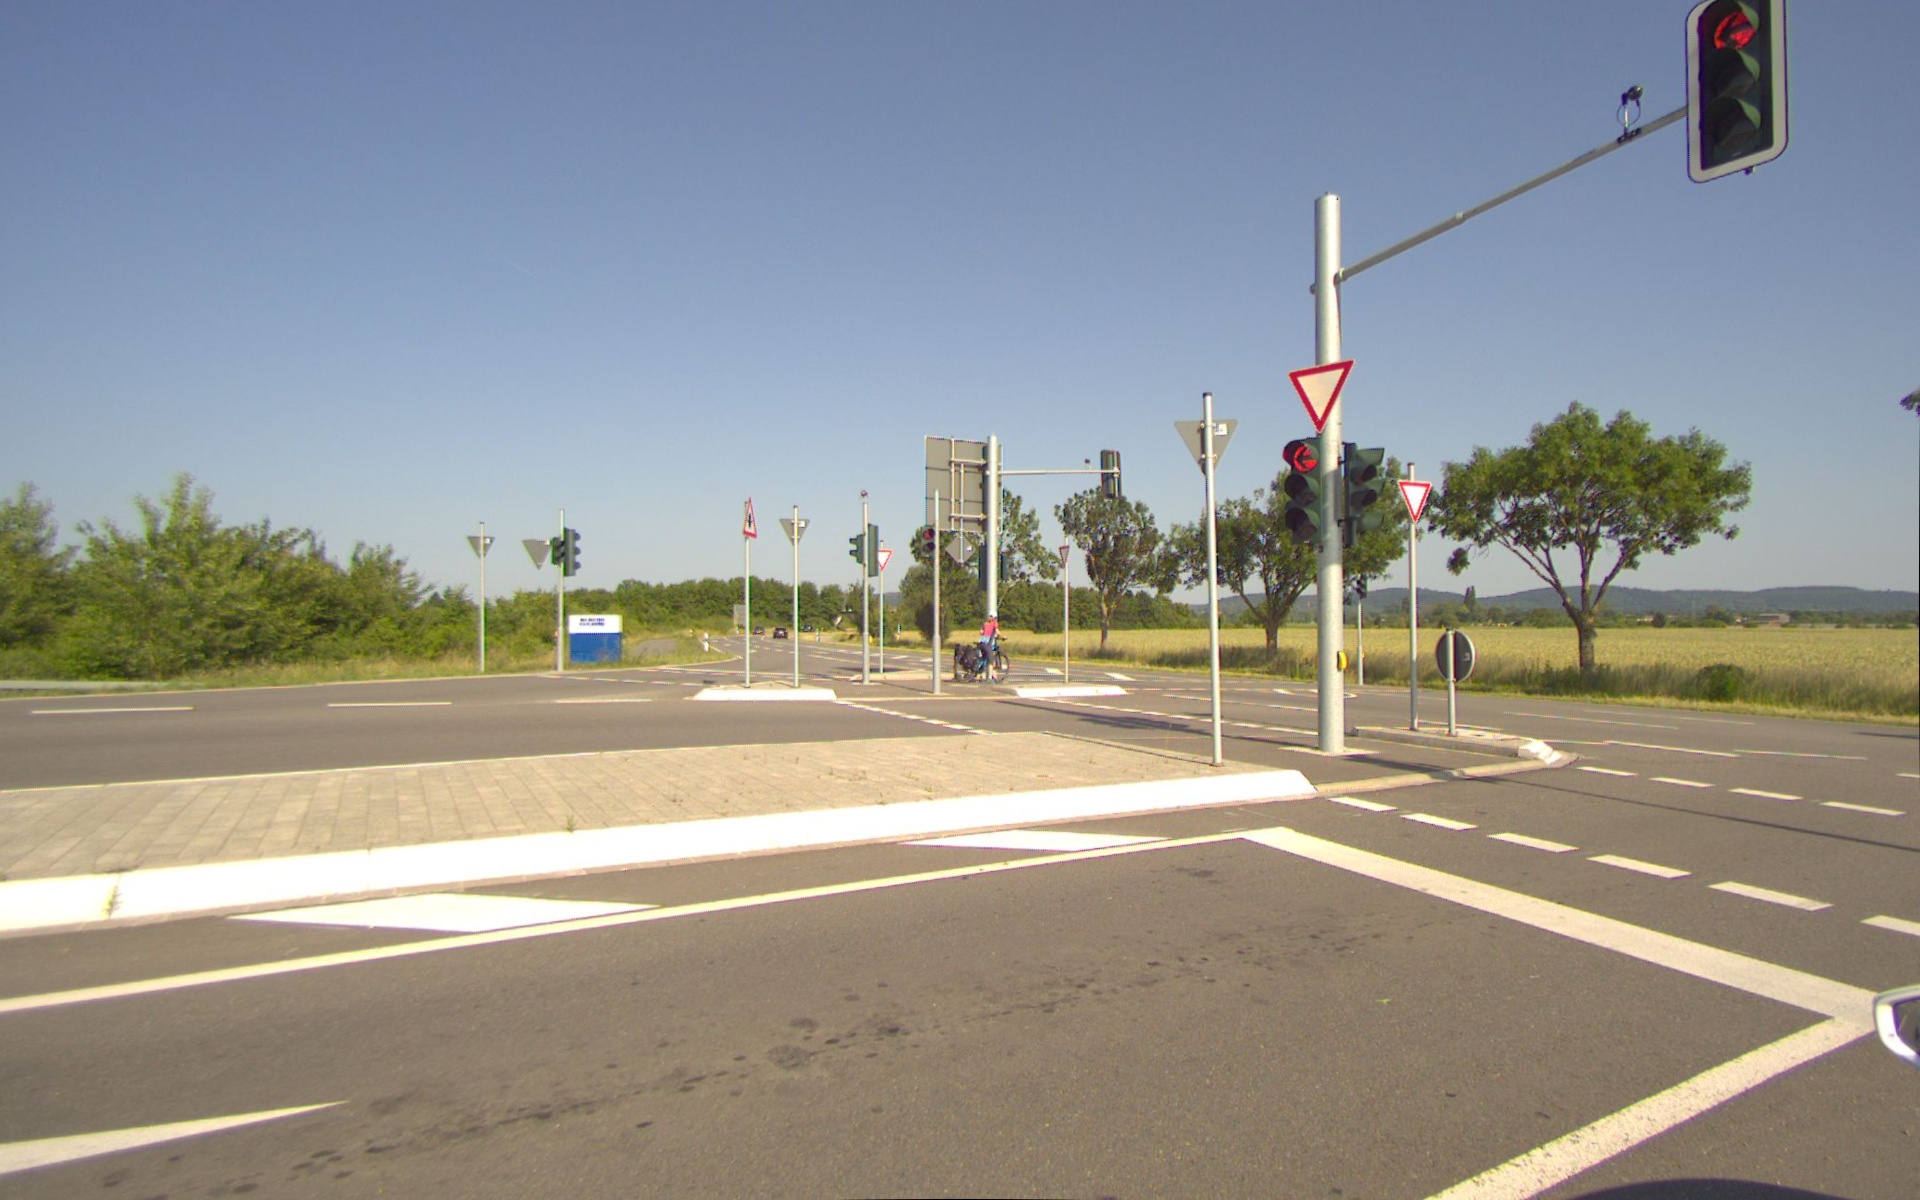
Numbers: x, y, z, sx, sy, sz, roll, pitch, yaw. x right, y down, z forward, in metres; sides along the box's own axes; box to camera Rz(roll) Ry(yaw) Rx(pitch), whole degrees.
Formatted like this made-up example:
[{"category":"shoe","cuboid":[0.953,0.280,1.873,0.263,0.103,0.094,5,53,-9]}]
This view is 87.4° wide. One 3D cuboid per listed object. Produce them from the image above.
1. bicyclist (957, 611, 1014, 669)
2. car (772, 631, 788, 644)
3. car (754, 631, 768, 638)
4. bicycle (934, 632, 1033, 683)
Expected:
[{"category":"bicyclist","cuboid":[0.621,0.967,24.297,1.062,1.369,0.851,2,-1,-31]},{"category":"car","cuboid":[-22.564,4.734,125.860,1.699,1.544,3.460,2,-1,-13]},{"category":"car","cuboid":[-31.160,5.376,157.231,1.707,1.127,3.998,2,-2,-5]},{"category":"bicycle","cuboid":[0.577,1.393,24.281,2.126,1.164,1.065,3,-1,-31]}]
